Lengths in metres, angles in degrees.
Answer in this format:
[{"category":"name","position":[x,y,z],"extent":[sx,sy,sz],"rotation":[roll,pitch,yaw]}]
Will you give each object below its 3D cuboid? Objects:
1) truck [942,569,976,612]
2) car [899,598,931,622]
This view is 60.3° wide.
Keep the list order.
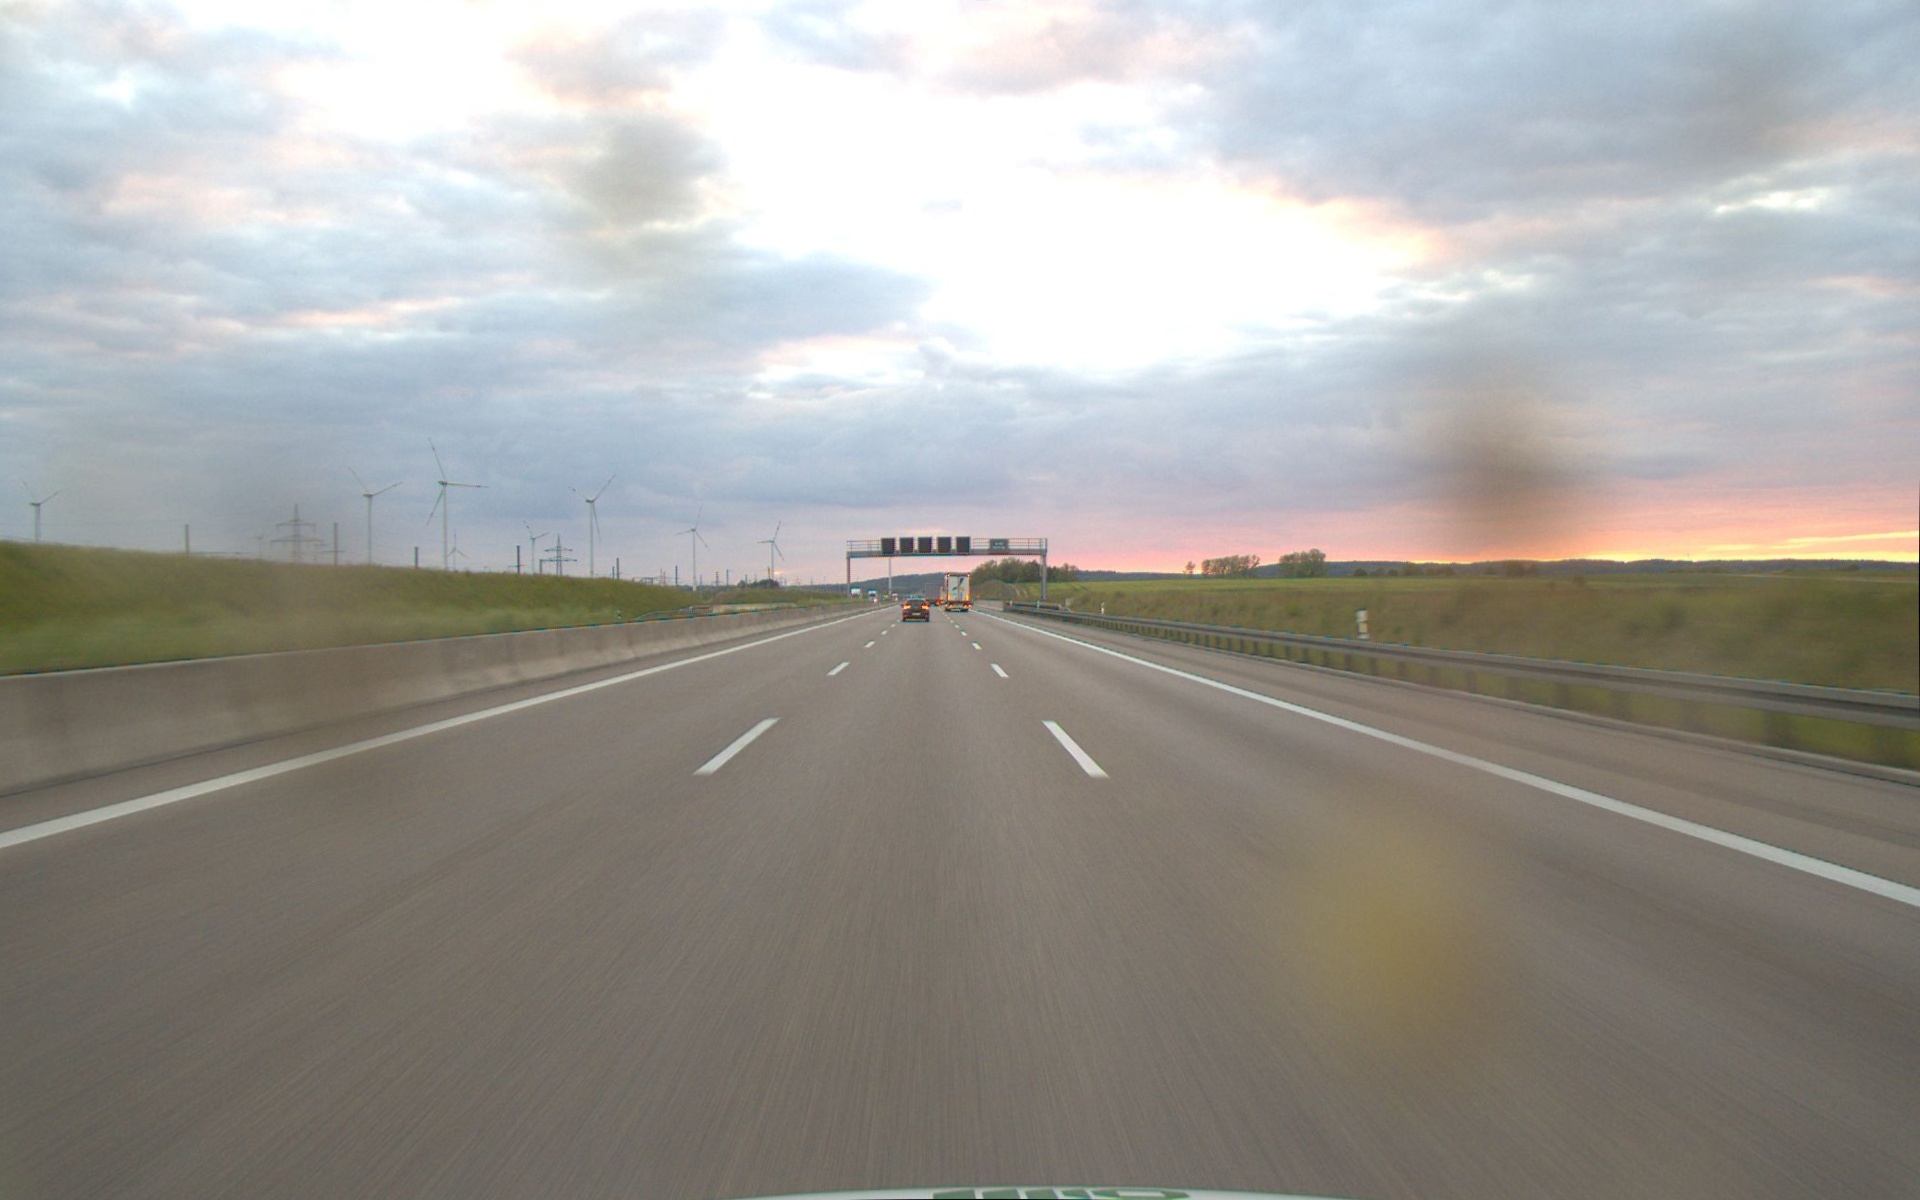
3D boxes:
[{"category":"truck","position":[-0.177,-1.068,187.868],"extent":[3.600,4.644,10.979],"rotation":[0,0,-1]},{"category":"car","position":[-2.832,0.650,104.875],"extent":[1.947,1.455,4.000],"rotation":[0,0,0]}]
